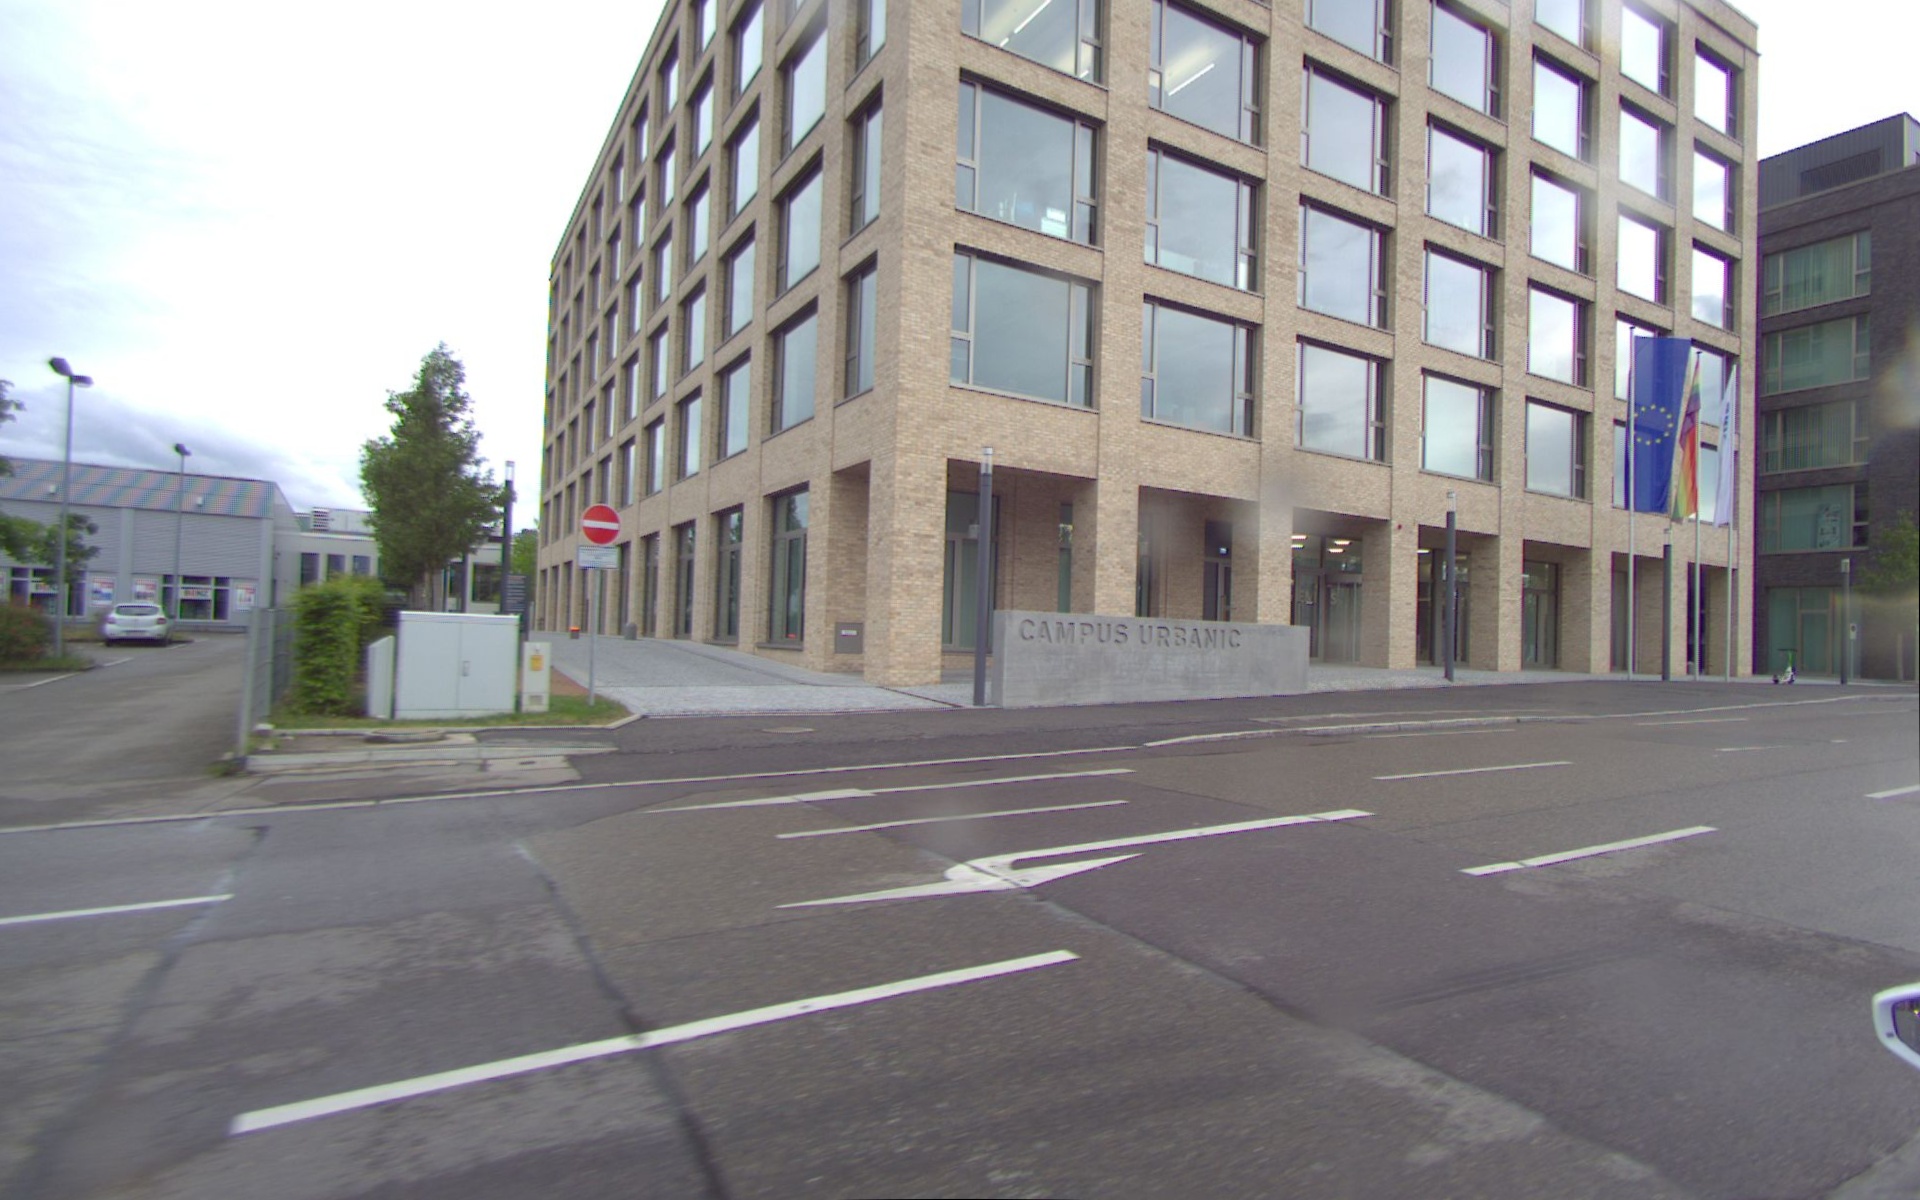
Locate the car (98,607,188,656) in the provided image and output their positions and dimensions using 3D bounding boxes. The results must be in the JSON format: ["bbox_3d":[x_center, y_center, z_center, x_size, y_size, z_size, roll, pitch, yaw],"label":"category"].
[{"bbox_3d":[-29.462,1.085,36.346,1.977,1.617,3.966,1,0,-31],"label":"car"}]

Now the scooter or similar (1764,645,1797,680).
[{"bbox_3d":[26.841,2.044,32.852,1.411,1.085,0.349,3,-1,-30],"label":"scooter or similar"}]
